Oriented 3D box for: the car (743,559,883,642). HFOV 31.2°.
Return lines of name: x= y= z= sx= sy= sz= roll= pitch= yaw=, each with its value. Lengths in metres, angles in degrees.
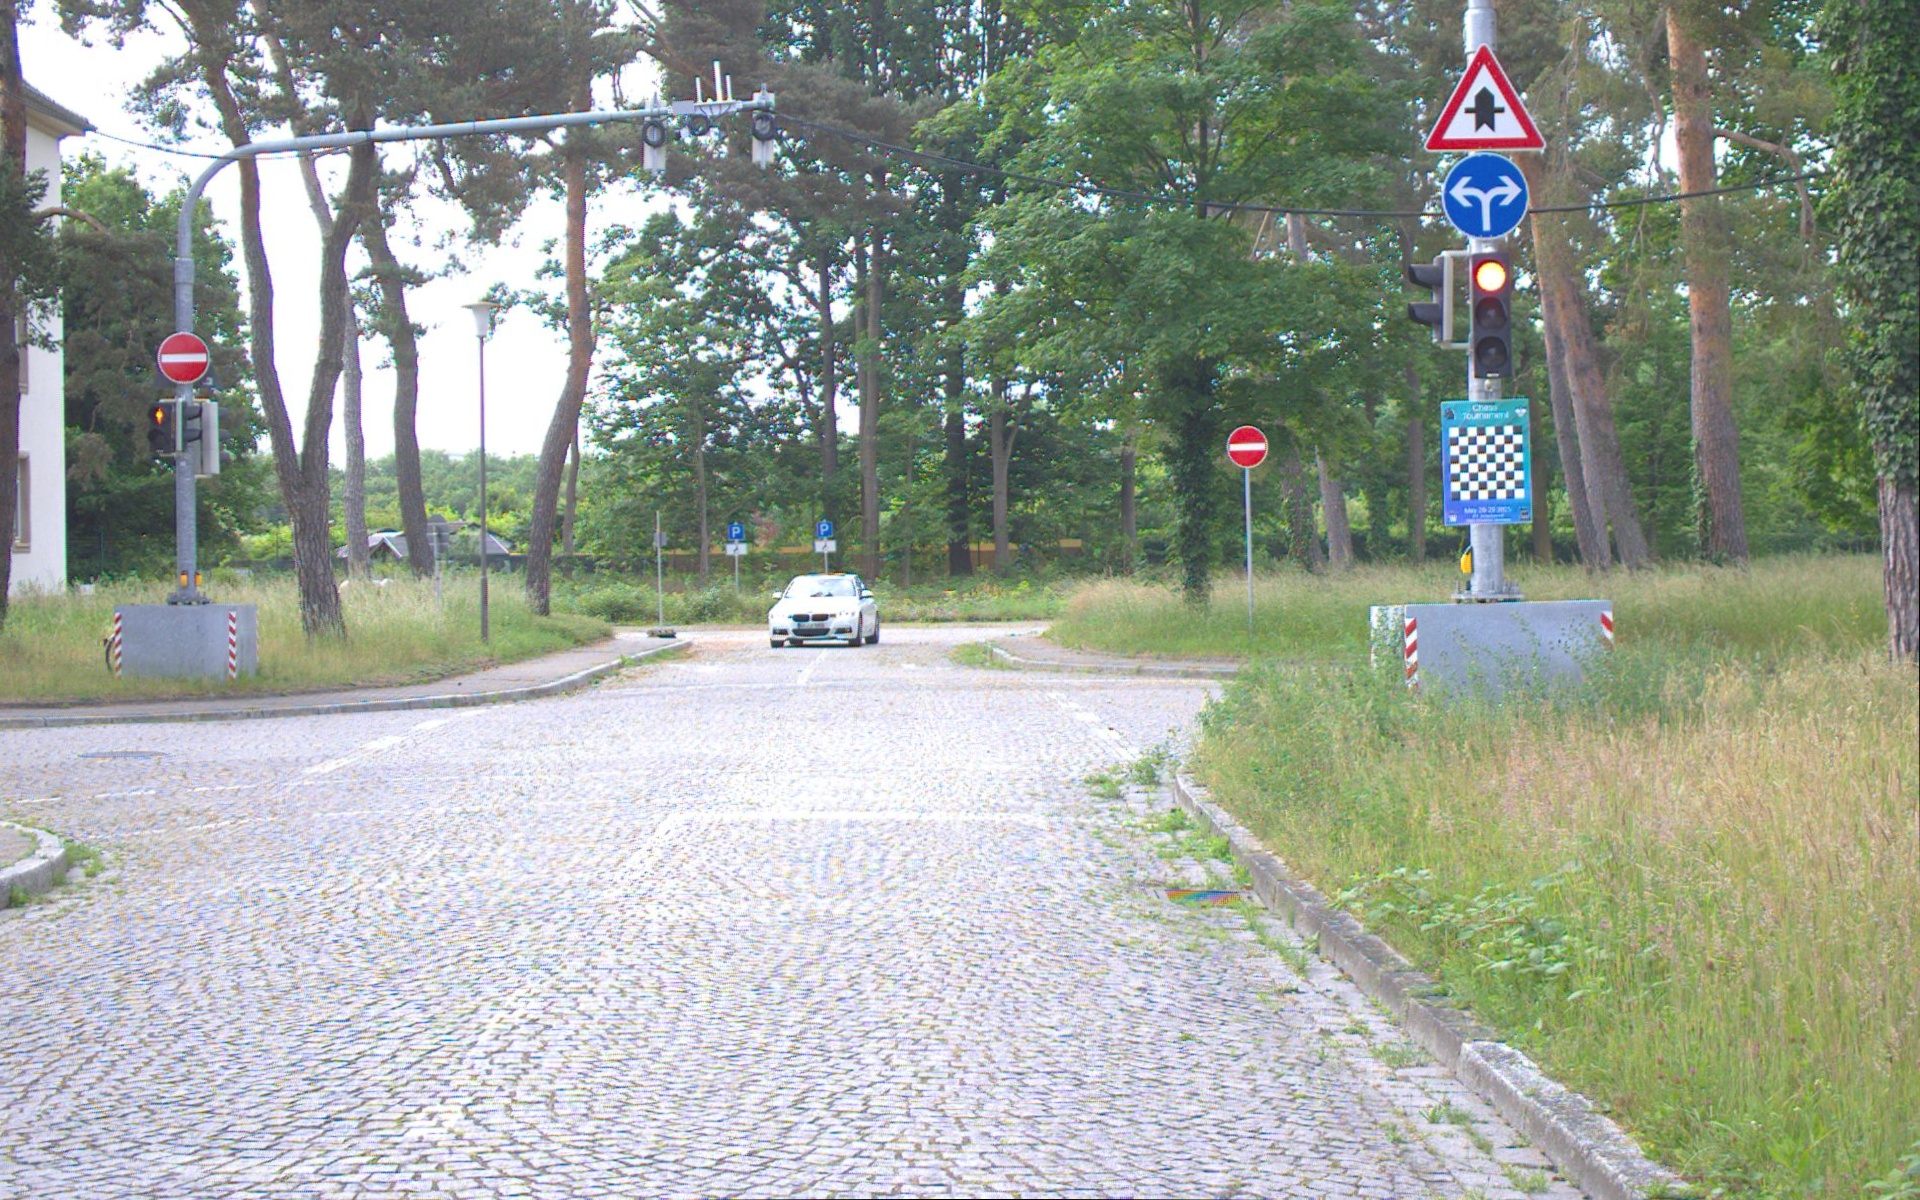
car: x=-2.883 y=-0.006 z=68.336 sx=1.774 sy=1.433 sz=4.216 roll=-3 pitch=1 yaw=11
